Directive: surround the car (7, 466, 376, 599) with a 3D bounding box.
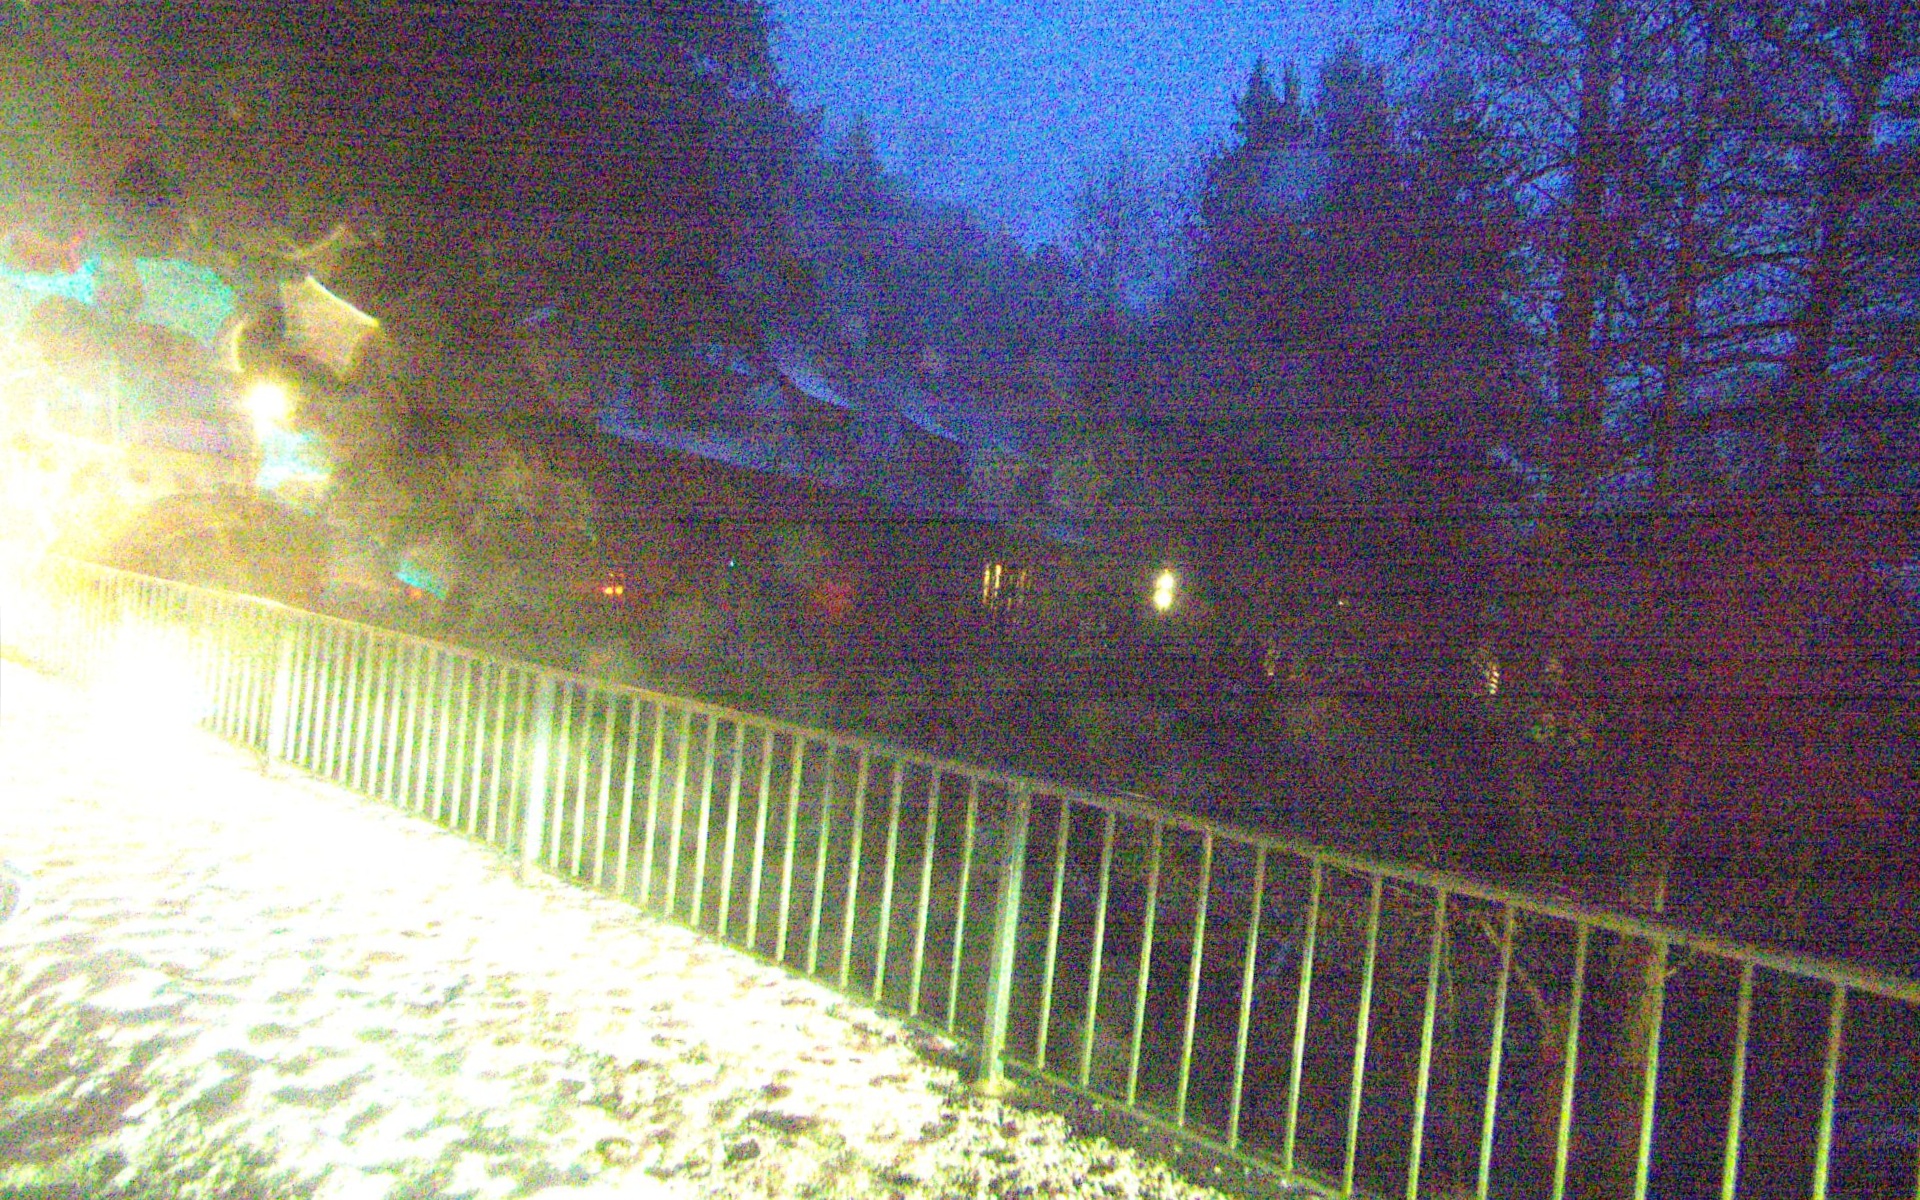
[{"bbox_3d":[-12.263,-1.018,16.284,1.913,1.607,4.455,8,3,43],"label":"car"}]
